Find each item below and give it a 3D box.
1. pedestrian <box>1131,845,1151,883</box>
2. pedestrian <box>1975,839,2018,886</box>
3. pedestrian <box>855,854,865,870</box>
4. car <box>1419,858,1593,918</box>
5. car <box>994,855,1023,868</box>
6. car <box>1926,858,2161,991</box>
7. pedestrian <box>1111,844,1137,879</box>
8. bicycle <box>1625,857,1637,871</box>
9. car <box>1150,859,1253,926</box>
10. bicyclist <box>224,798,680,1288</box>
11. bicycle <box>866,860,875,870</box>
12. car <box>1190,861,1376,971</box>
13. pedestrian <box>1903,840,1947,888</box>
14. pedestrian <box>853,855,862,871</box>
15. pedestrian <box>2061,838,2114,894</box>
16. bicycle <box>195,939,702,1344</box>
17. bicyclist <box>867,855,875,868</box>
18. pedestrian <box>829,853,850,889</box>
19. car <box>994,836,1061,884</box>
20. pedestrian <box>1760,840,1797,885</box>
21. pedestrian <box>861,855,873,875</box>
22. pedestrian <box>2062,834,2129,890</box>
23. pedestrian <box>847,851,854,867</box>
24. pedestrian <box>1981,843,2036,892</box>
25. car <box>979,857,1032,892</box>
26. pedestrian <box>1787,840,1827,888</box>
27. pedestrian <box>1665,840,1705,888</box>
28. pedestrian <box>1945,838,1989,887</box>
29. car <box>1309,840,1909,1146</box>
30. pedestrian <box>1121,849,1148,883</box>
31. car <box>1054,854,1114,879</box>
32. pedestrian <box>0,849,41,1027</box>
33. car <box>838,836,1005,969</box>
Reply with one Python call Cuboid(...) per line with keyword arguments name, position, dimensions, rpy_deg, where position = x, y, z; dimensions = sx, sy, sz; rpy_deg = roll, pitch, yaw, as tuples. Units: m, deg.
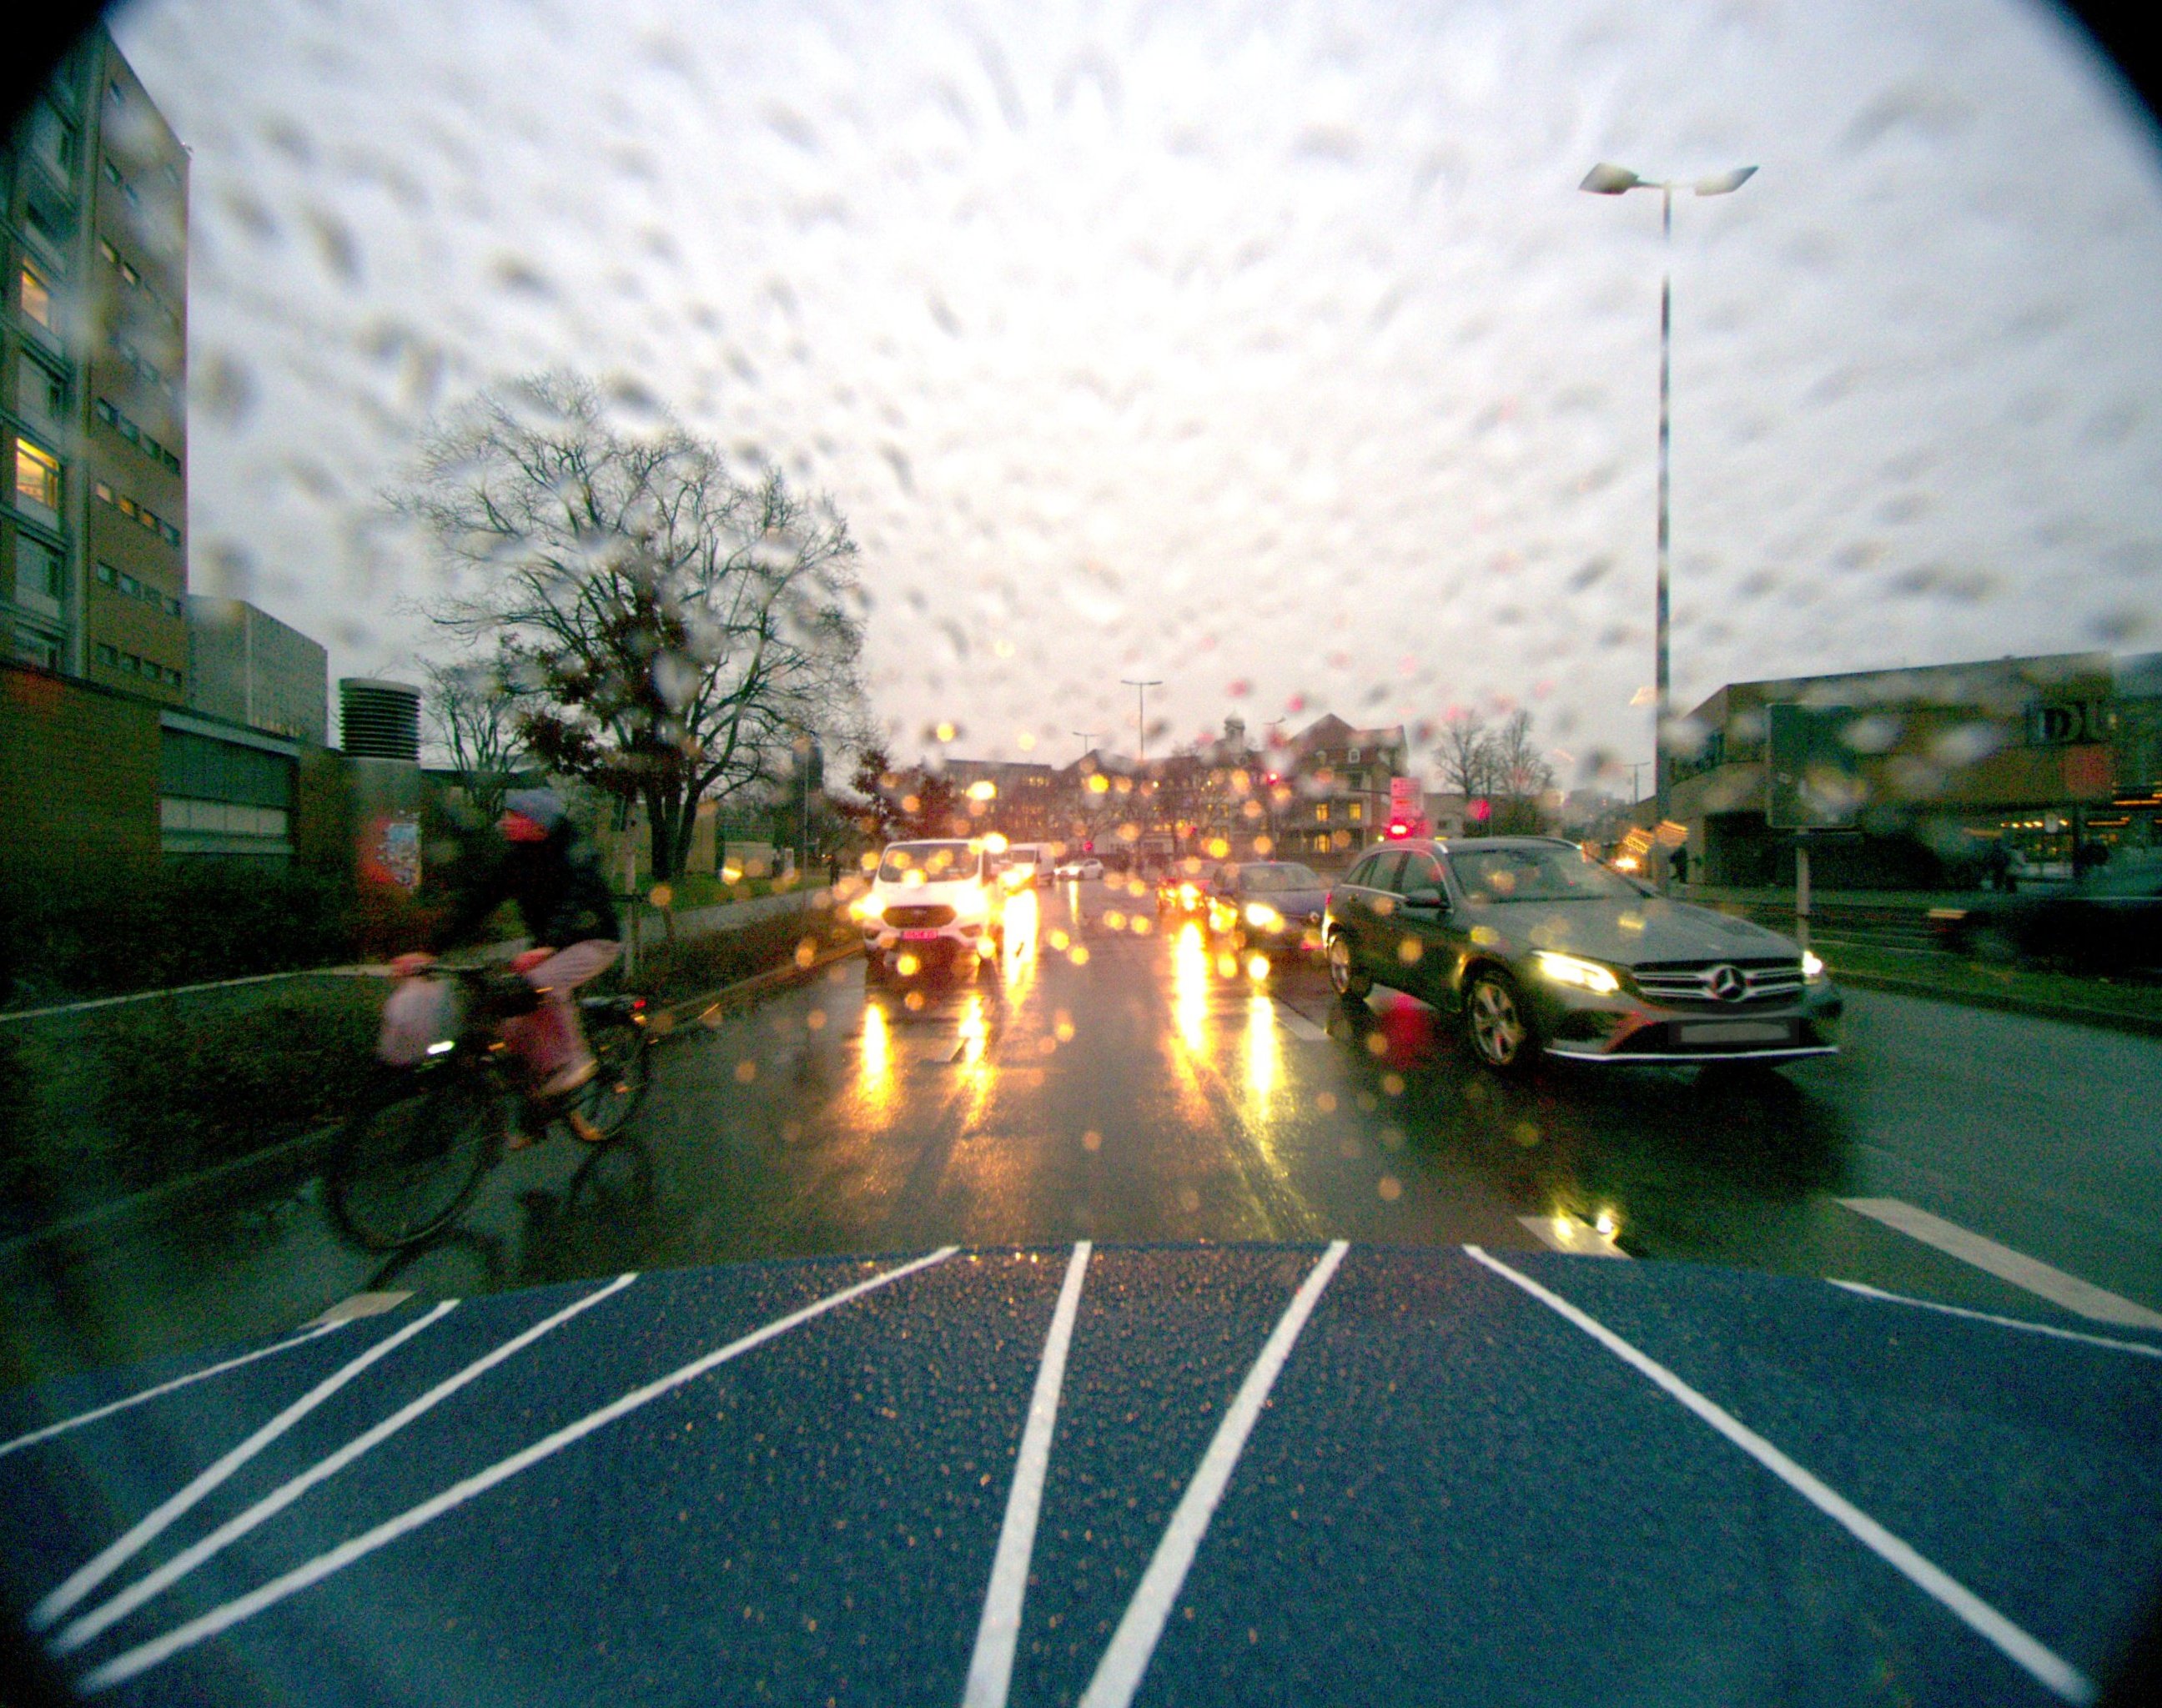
Cuboid(name="pedestrian", position=(3.181, 0.534, 40.581), dimensions=(0.848, 1.993, 1.109), rpy_deg=(-1, -2, -6))
Cuboid(name="pedestrian", position=(33.918, 0.314, 28.164), dimensions=(0.743, 1.716, 0.743), rpy_deg=(0, 0, -9))
Cuboid(name="pedestrian", position=(-24.660, 0.883, 84.876), dimensions=(0.934, 1.815, 0.832), rpy_deg=(0, 1, -23))
Cuboid(name="car", position=(11.633, 0.856, 21.281), dimensions=(1.811, 1.411, 4.820), rpy_deg=(-1, 0, -6))
Cuboid(name="car", position=(-7.984, 0.772, 83.422), dimensions=(1.934, 1.368, 4.489), rpy_deg=(0, 0, -22))
Cuboid(name="car", position=(12.625, 0.781, 8.307), dimensions=(1.677, 1.365, 4.448), rpy_deg=(-2, 0, -3))
Cuboid(name="pedestrian", position=(2.552, 0.463, 44.775), dimensions=(1.032, 2.037, 1.218), rpy_deg=(-2, -2, 35))
Cuboid(name="bicycle", position=(45.329, 0.833, 62.612), dimensions=(0.645, 1.097, 2.757), rpy_deg=(-2, -3, 33))
Cuboid(name="car", position=(3.051, 0.927, 19.976), dimensions=(1.706, 1.473, 3.870), rpy_deg=(-3, 0, -5))
Cuboid(name="bicyclist", position=(-2.752, 0.733, 3.551), dimensions=(1.026, 1.872, 1.236), rpy_deg=(-2, 1, 0))
Cuboid(name="bicycle", position=(-25.304, 1.371, 91.425), dimensions=(0.807, 1.134, 2.210), rpy_deg=(3, -1, -19))
Cuboid(name="car", position=(3.074, 0.872, 12.497), dimensions=(1.664, 1.396, 4.118), rpy_deg=(-2, 0, -4))
Cuboid(name="pedestrian", position=(30.520, 0.354, 27.494), dimensions=(0.741, 1.716, 0.744), rpy_deg=(0, 0, 7))
Cuboid(name="pedestrian", position=(-26.216, 1.016, 88.976), dimensions=(0.934, 1.815, 0.832), rpy_deg=(0, 1, -23))
Cuboid(name="pedestrian", position=(31.729, 0.366, 23.958), dimensions=(0.801, 1.740, 0.761), rpy_deg=(0, 0, -18))
Cuboid(name="bicycle", position=(-2.732, 1.137, 3.667), dimensions=(0.794, 1.215, 1.904), rpy_deg=(-2, 0, 1))
Cuboid(name="bicyclist", position=(-25.288, 0.892, 91.451), dimensions=(0.807, 1.608, 1.084), rpy_deg=(3, 0, -19))
Cuboid(name="pedestrian", position=(-11.384, 0.797, 35.844), dimensions=(0.913, 1.677, 0.926), rpy_deg=(1, -2, -16))
Cuboid(name="car", position=(-2.940, 0.446, 43.511), dimensions=(2.344, 2.502, 5.875), rpy_deg=(-1, -2, 11))
Cuboid(name="pedestrian", position=(26.985, 0.339, 29.412), dimensions=(0.741, 1.716, 0.744), rpy_deg=(0, 0, 7))
Cuboid(name="pedestrian", position=(-19.793, 0.995, 70.243), dimensions=(0.934, 1.815, 0.832), rpy_deg=(0, 1, -23))
Cuboid(name="pedestrian", position=(35.342, 0.270, 26.481), dimensions=(1.120, 1.907, 1.065), rpy_deg=(0, 0, 36))
Cuboid(name="pedestrian", position=(-29.690, 0.634, 97.842), dimensions=(0.767, 2.002, 0.908), rpy_deg=(0, 1, -24))
Cuboid(name="pedestrian", position=(30.809, 0.436, 25.258), dimensions=(0.854, 1.593, 0.967), rpy_deg=(0, 0, 28))
Cuboid(name="car", position=(-3.492, 0.981, 35.699), dimensions=(1.754, 1.494, 4.320), rpy_deg=(-1, -2, 4))
Cuboid(name="pedestrian", position=(26.781, 0.368, 28.037), dimensions=(0.662, 1.757, 0.832), rpy_deg=(0, 0, -18))
Cuboid(name="pedestrian", position=(23.724, 0.403, 29.864), dimensions=(1.032, 1.846, 1.237), rpy_deg=(-2, -2, 32))
Cuboid(name="pedestrian", position=(31.694, 0.311, 27.180), dimensions=(0.743, 1.716, 0.743), rpy_deg=(0, 0, -13))
Cuboid(name="car", position=(3.528, 0.740, 6.353), dimensions=(1.790, 1.591, 4.540), rpy_deg=(-2, 0, -1))
Cuboid(name="pedestrian", position=(2.994, 0.661, 42.536), dimensions=(1.037, 1.846, 1.068), rpy_deg=(1, -2, -38))
Cuboid(name="car", position=(0.269, 0.850, 53.243), dimensions=(1.833, 1.634, 4.827), rpy_deg=(0, 0, 34))
Cuboid(name="pedestrian", position=(-10.755, 0.799, 7.080), dimensions=(0.808, 1.678, 1.072), rpy_deg=(2, 1, 21))
Cuboid(name="car", position=(-2.568, 0.790, 13.561), dimensions=(2.137, 1.909, 5.017), rpy_deg=(-1, -2, -3))
